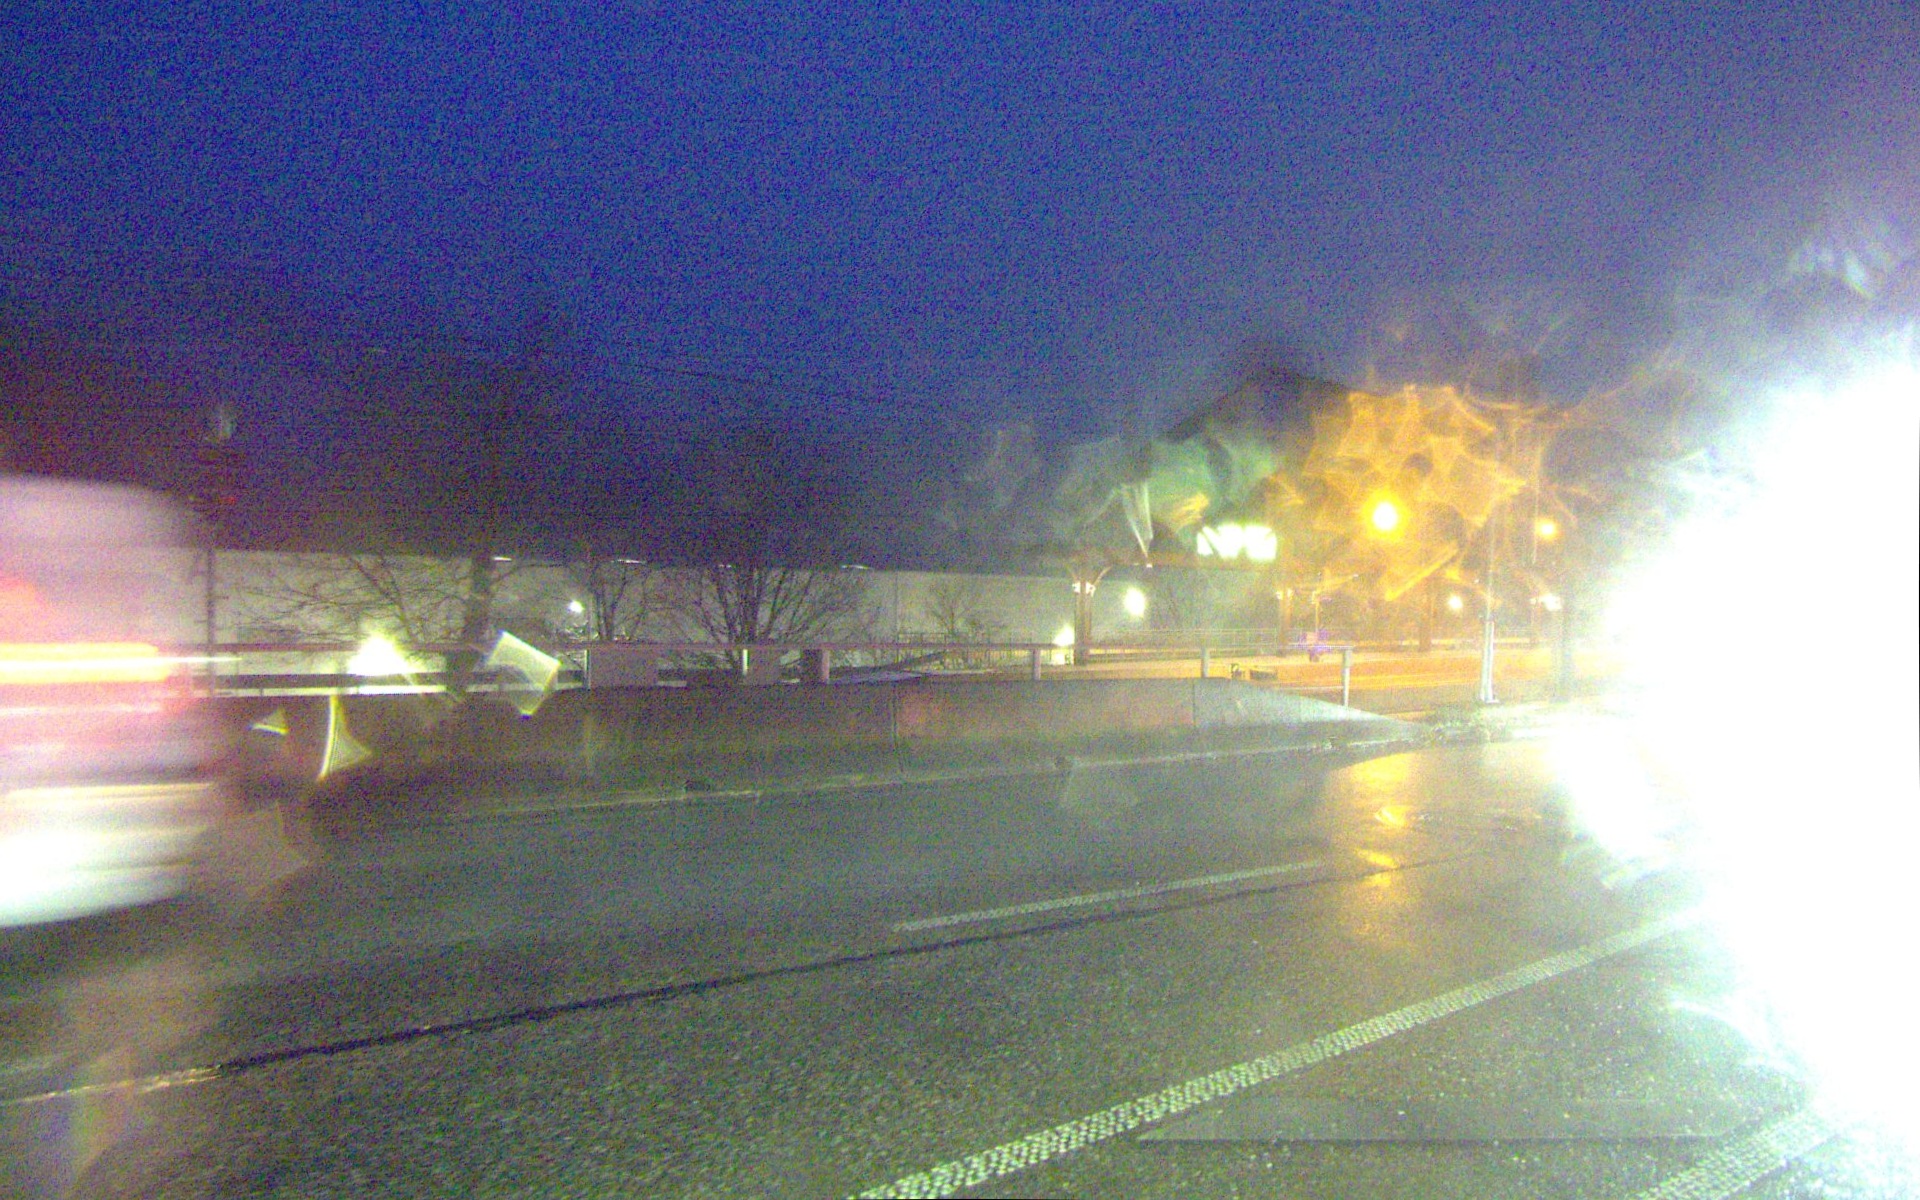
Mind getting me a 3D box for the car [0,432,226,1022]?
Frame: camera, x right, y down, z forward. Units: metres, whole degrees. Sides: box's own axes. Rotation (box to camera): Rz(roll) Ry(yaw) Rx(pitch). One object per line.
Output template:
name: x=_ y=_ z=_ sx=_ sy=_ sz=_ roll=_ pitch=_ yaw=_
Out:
car: x=-5.526 y=0.393 z=3.386 sx=4.658 sy=2.040 sz=2.075 roll=2 pitch=-1 yaw=-30
